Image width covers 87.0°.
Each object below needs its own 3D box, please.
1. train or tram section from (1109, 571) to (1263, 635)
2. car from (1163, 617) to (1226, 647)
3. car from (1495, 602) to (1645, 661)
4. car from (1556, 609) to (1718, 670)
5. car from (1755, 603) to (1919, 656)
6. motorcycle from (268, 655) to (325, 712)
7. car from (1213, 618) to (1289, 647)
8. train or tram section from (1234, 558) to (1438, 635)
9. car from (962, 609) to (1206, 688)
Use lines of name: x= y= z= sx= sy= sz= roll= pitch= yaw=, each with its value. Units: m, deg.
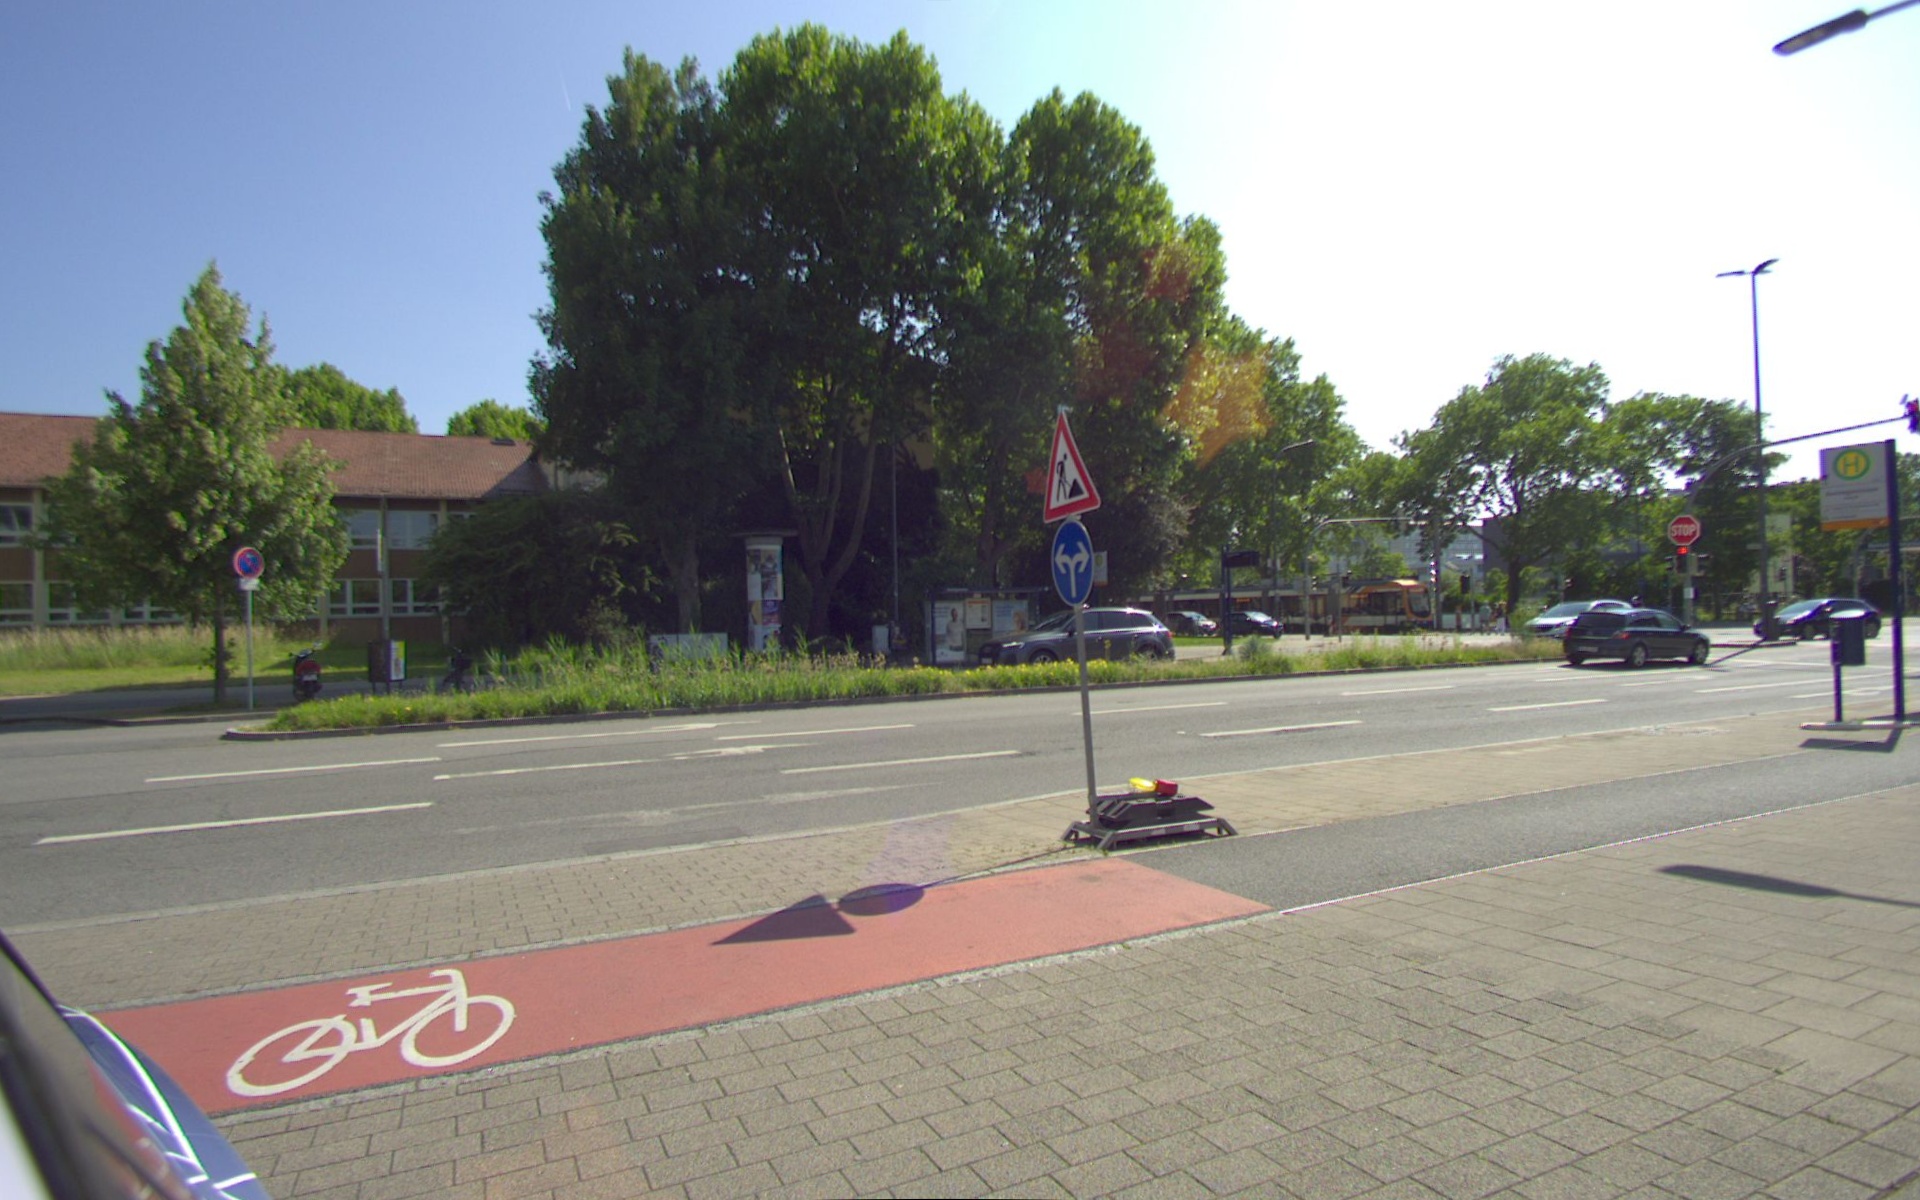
train or tram section: x=17.493 y=0.439 z=80.475 sx=2.288 sy=4.524 sz=15.977 roll=0 pitch=-2 yaw=-26
car: x=15.133 y=2.087 z=65.489 sx=1.836 sy=1.702 sz=4.013 roll=-1 pitch=-3 yaw=-25
car: x=19.993 y=0.998 z=33.180 sx=4.314 sy=1.782 sz=2.006 roll=-1 pitch=-1 yaw=-23
car: x=17.198 y=0.944 z=25.698 sx=3.933 sy=1.377 sz=1.691 roll=-1 pitch=0 yaw=-26
car: x=31.832 y=1.061 z=36.643 sx=4.334 sy=1.782 sz=1.998 roll=-2 pitch=-1 yaw=4
motorcycle: x=-14.017 y=1.741 z=21.358 sx=1.758 sy=1.122 sz=0.550 roll=-3 pitch=-2 yaw=41
car: x=17.106 y=1.908 z=59.663 sx=1.837 sy=1.524 sz=4.011 roll=0 pitch=-4 yaw=-32
train or tram section: x=24.218 y=0.026 z=66.923 sx=2.288 sy=4.524 sz=14.992 roll=0 pitch=-2 yaw=-26
car: x=3.020 y=1.148 z=24.369 sx=5.561 sy=1.623 sz=2.006 roll=-1 pitch=-4 yaw=-26
